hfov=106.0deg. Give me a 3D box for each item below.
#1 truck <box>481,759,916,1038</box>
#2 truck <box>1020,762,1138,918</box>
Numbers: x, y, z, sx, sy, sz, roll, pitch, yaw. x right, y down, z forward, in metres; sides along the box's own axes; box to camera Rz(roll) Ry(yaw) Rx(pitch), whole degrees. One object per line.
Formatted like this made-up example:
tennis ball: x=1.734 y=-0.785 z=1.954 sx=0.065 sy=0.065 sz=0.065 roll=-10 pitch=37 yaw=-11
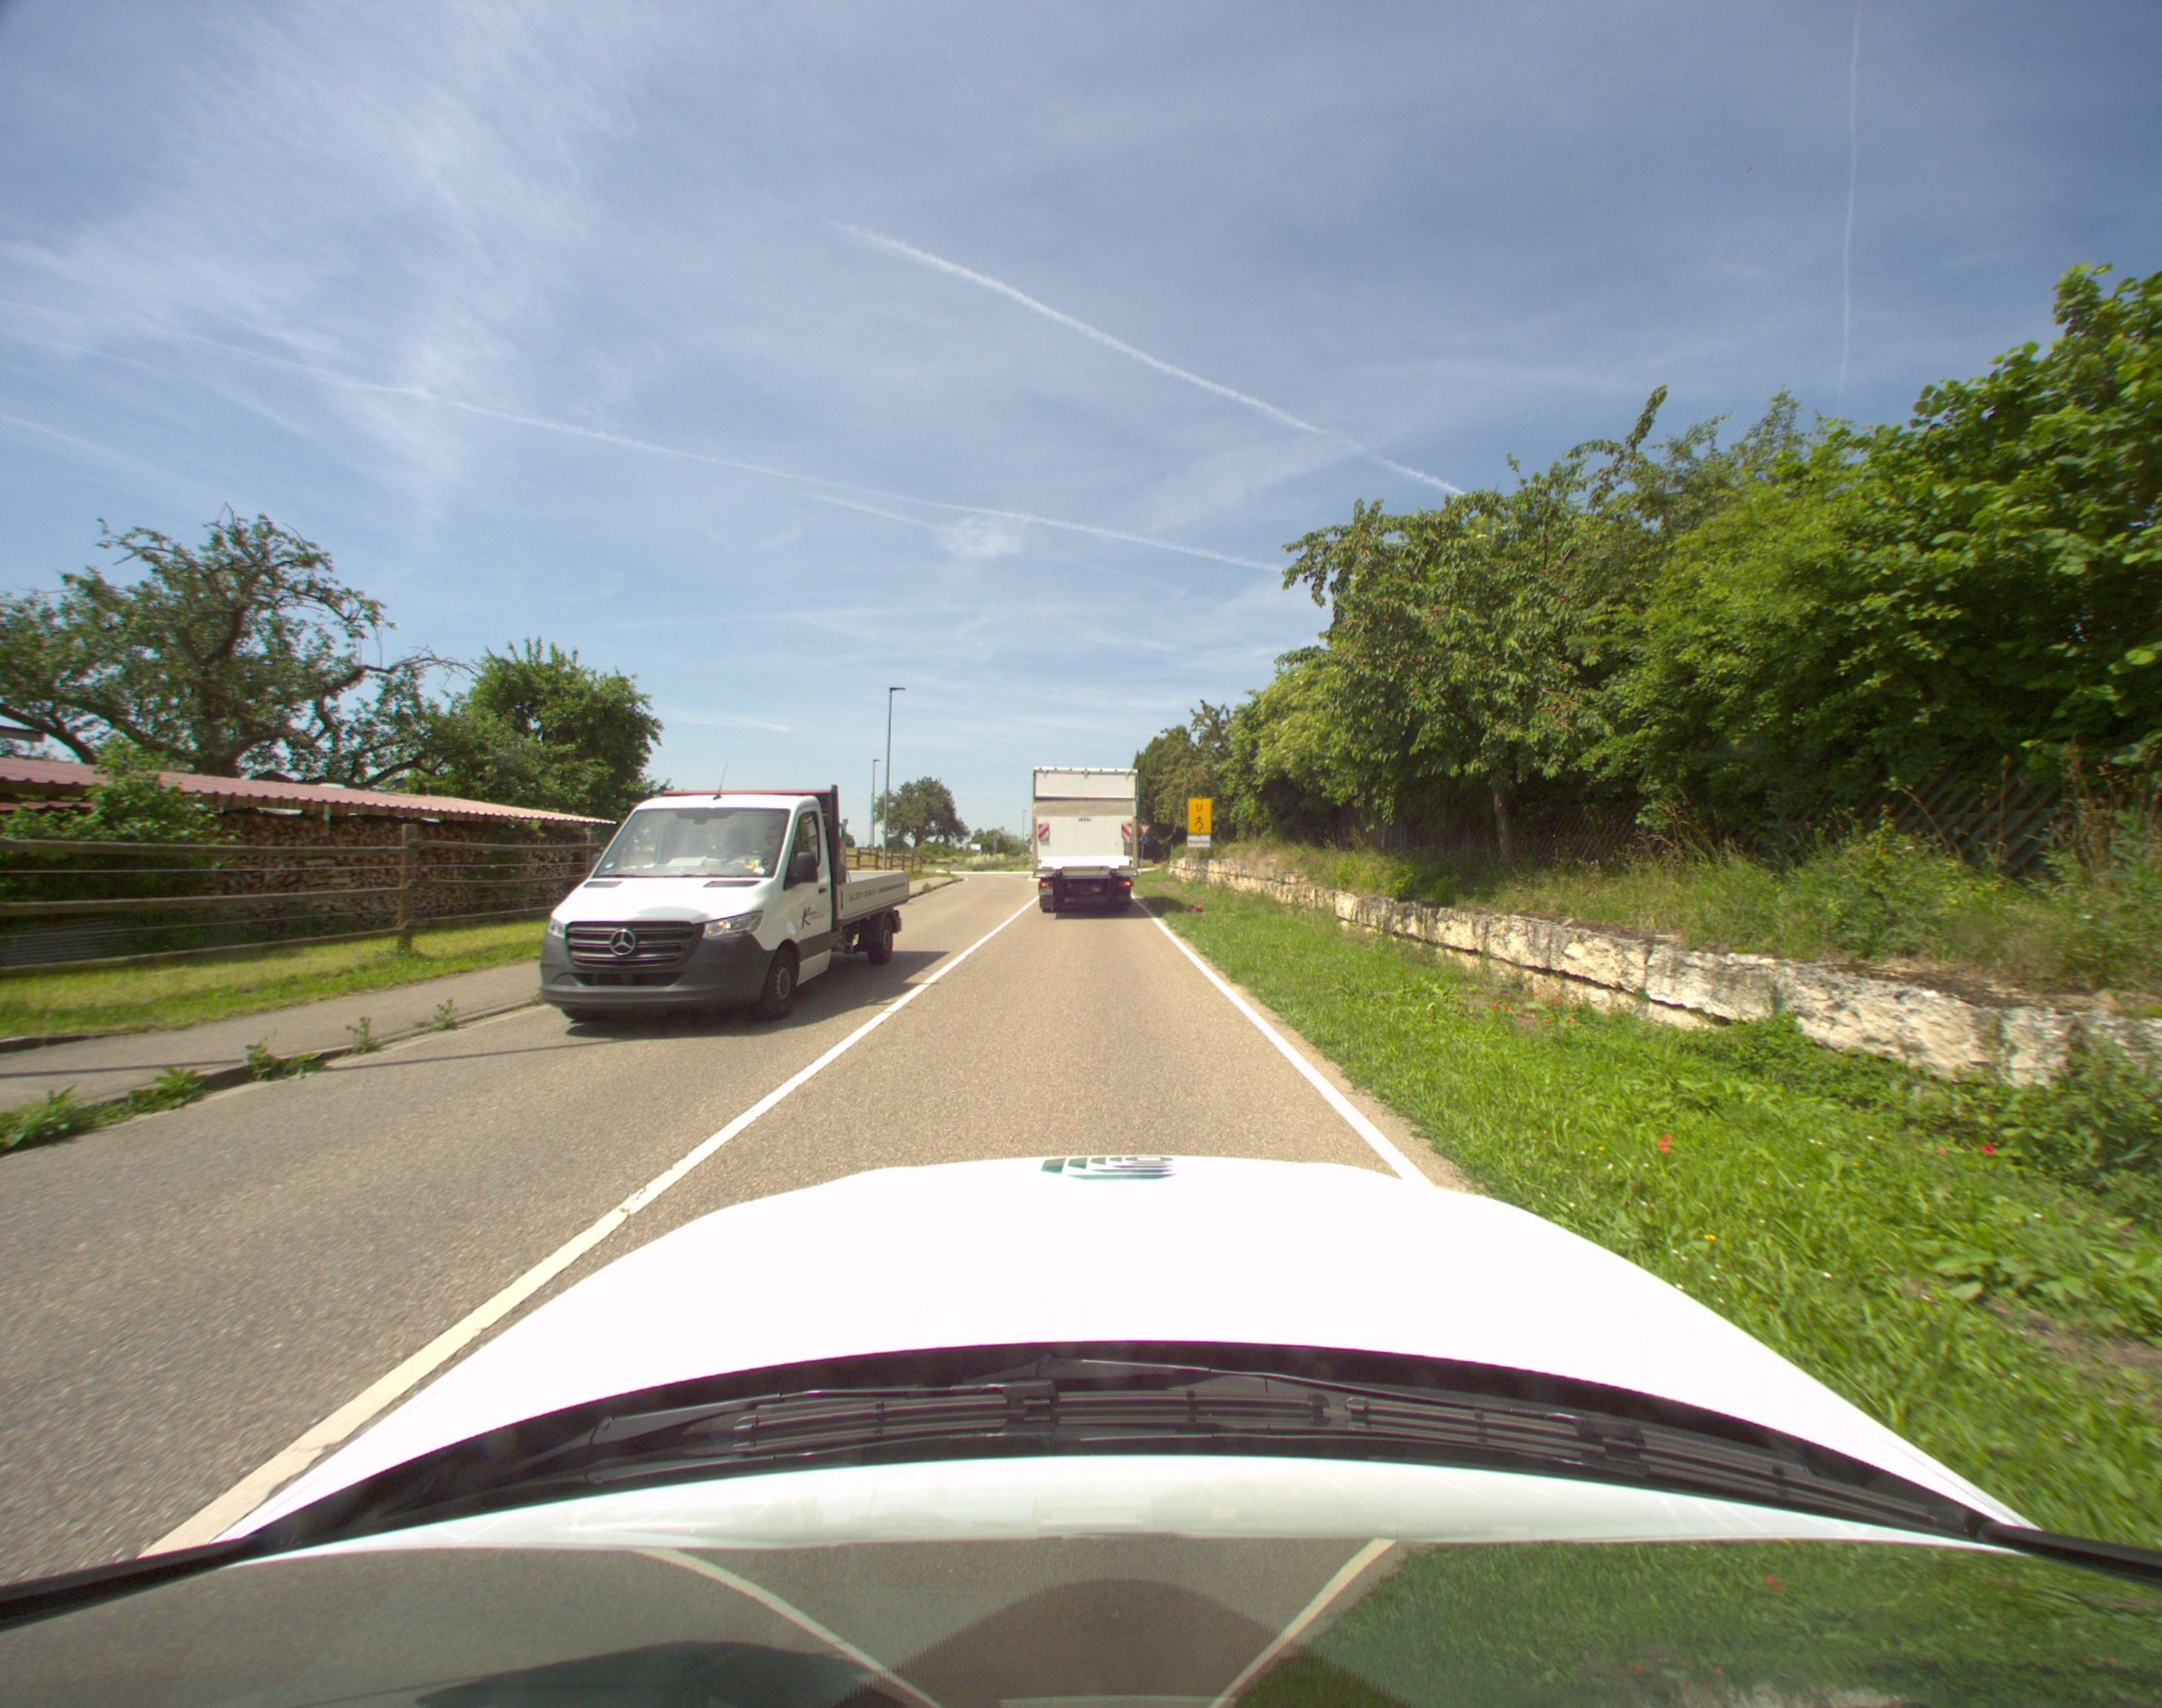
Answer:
truck: x=-3.819 y=0.378 z=9.986 sx=2.215 sy=2.293 sz=6.492 roll=0 pitch=0 yaw=0
truck: x=-0.092 y=-0.320 z=23.951 sx=2.758 sy=3.671 sz=9.379 roll=-1 pitch=0 yaw=-1
